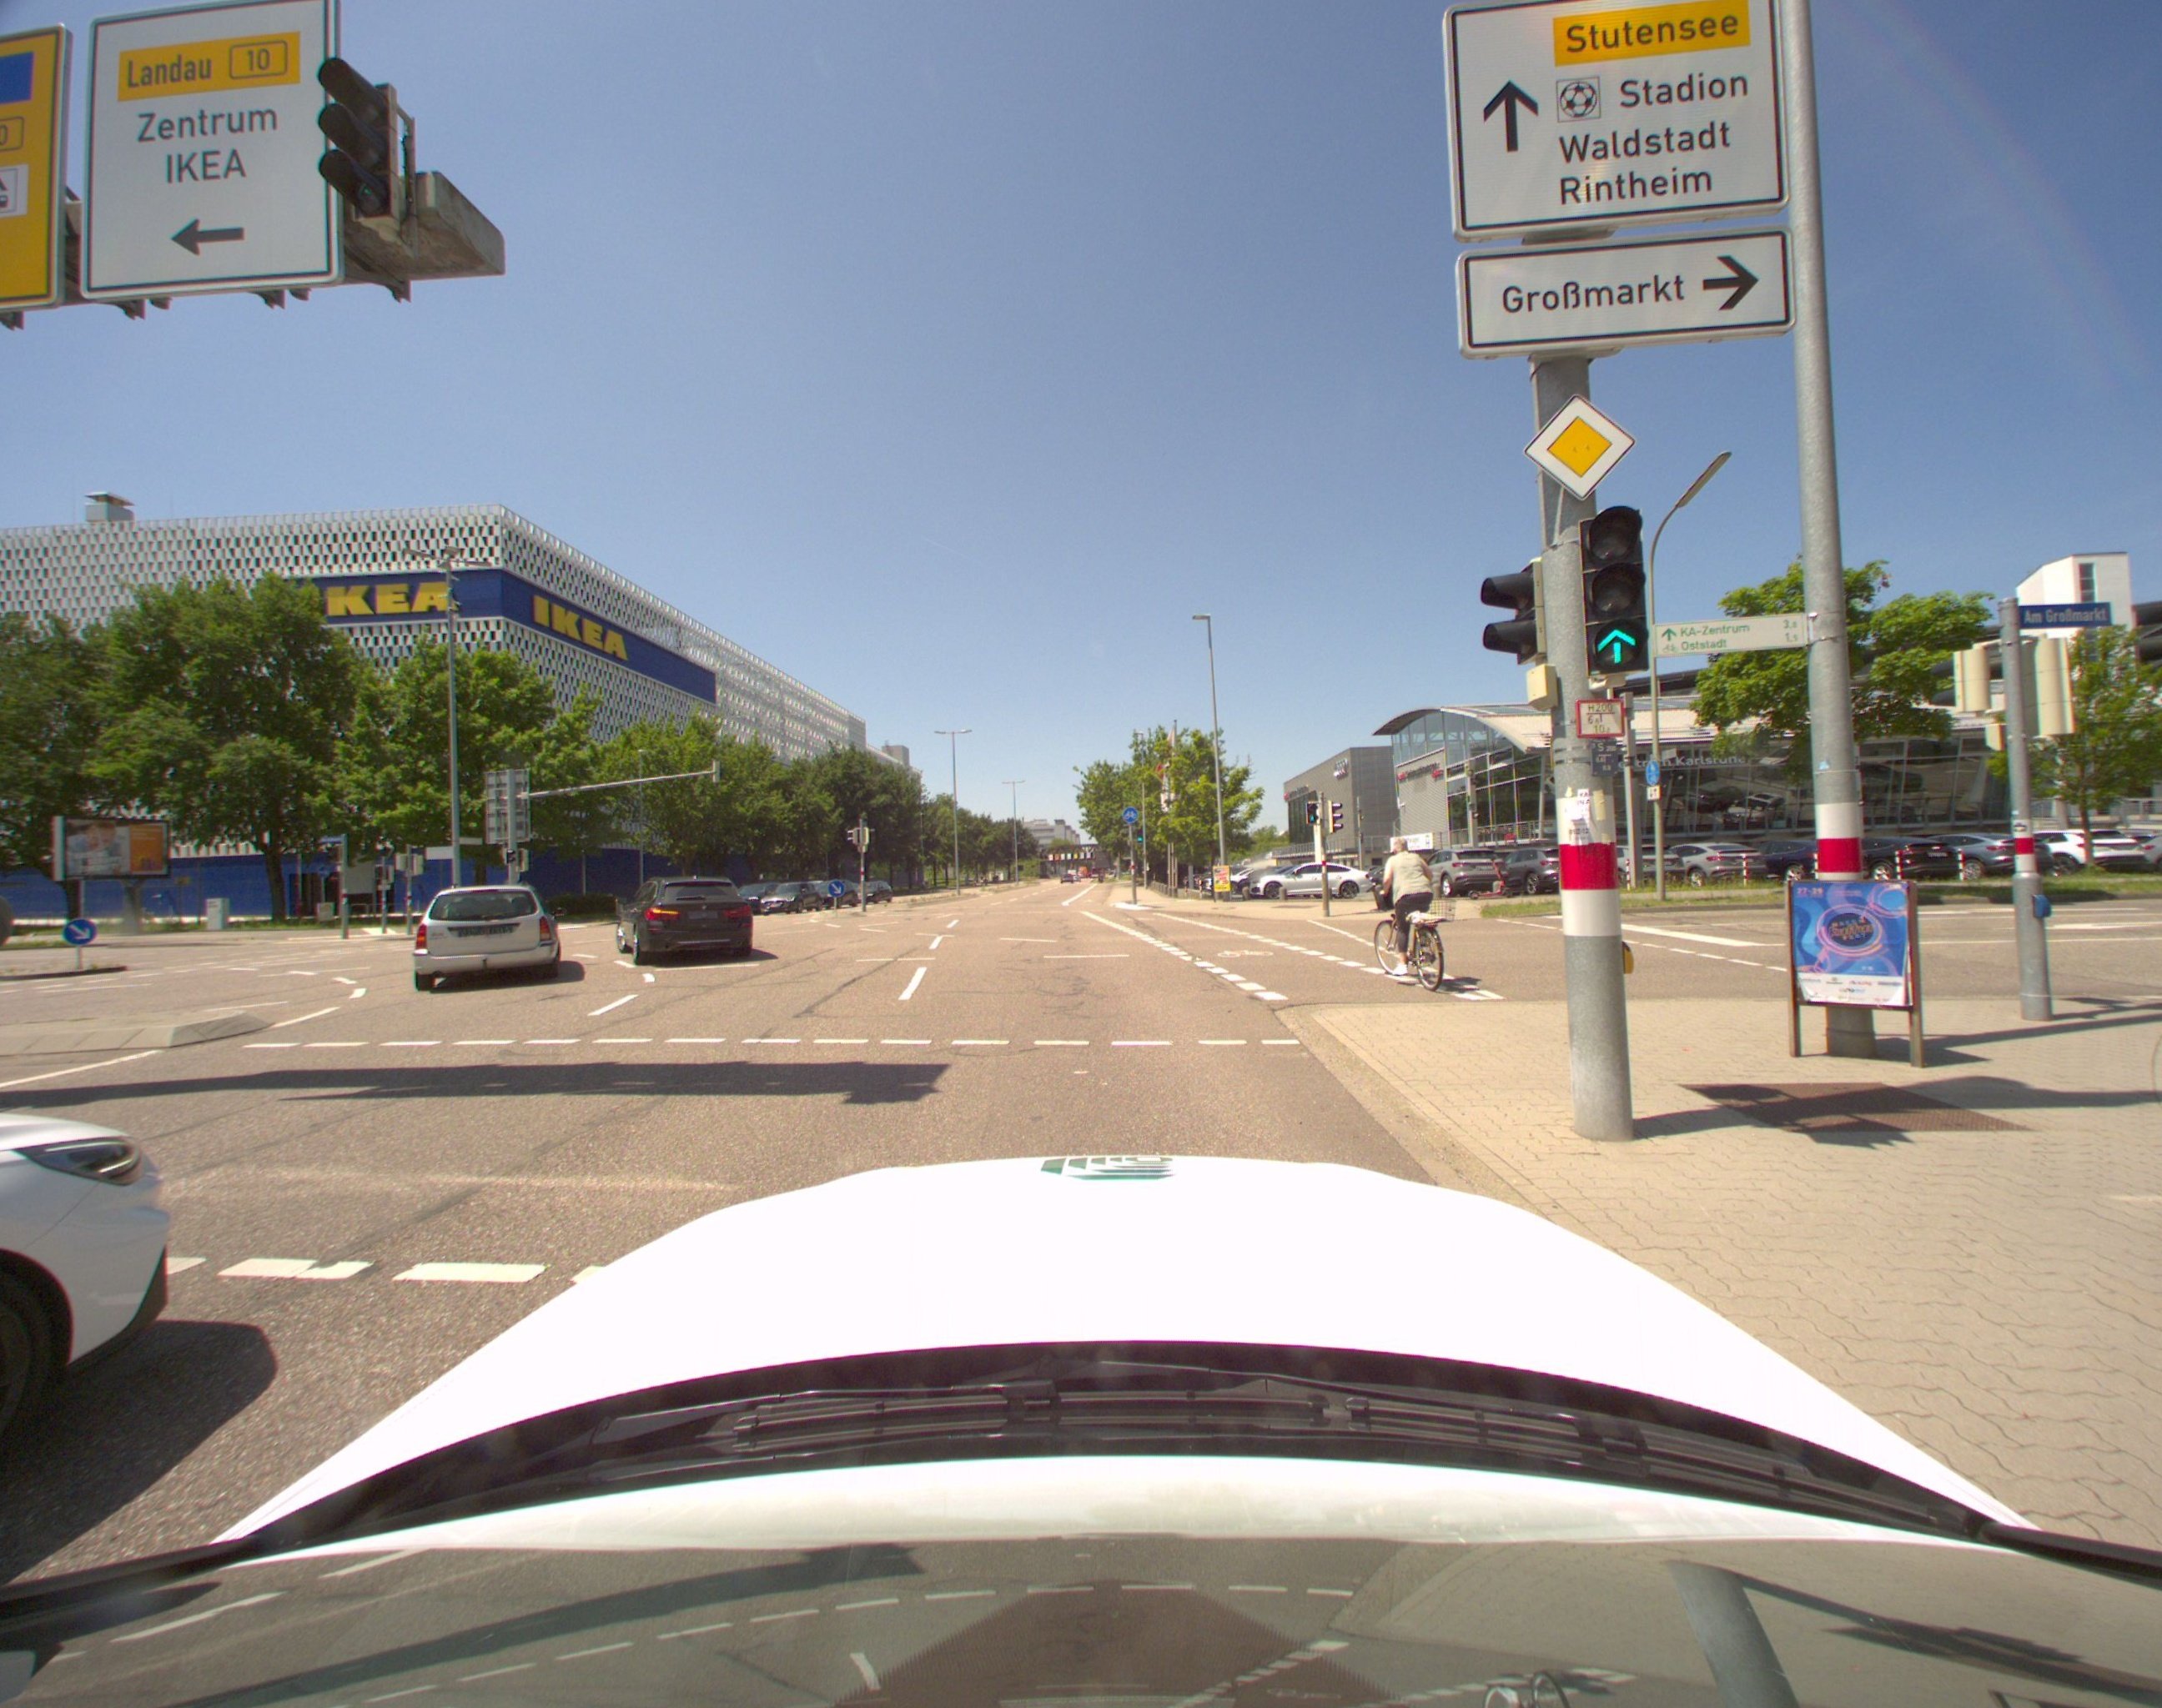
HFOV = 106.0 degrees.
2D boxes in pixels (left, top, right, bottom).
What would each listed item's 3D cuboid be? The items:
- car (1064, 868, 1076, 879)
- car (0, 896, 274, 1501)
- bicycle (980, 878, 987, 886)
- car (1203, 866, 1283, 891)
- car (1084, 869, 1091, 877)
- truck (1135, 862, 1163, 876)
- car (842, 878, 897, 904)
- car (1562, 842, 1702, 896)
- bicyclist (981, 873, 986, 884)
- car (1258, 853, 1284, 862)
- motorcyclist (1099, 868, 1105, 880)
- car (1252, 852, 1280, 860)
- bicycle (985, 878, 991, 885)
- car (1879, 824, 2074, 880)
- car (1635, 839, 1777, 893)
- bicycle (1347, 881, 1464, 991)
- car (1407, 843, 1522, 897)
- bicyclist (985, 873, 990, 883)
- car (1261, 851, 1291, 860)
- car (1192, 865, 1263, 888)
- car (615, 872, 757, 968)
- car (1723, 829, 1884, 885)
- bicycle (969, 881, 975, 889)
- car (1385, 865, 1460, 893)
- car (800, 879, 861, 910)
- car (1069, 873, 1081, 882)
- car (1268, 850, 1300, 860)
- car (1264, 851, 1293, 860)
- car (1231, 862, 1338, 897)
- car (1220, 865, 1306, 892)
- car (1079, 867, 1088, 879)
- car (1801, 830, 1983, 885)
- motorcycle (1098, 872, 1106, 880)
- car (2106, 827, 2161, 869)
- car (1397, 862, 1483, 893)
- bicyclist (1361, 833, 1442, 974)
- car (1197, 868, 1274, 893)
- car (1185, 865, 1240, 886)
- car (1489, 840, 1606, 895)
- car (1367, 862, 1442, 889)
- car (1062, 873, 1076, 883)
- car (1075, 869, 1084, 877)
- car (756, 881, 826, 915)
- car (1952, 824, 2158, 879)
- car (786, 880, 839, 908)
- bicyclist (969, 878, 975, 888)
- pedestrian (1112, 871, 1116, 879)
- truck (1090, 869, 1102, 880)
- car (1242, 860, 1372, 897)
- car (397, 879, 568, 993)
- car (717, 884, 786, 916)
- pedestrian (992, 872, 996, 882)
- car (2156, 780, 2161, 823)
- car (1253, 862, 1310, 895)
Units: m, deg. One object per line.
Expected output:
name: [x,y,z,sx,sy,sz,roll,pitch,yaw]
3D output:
car: [-2.100,3.726,153.292,1.986,2.014,4.001,-1,-1,1]
car: [-3.566,0.837,0.599,1.781,1.436,4.072,-1,-1,2]
bicycle: [-15.185,4.393,127.139,0.737,1.125,2.433,-2,-1,-1]
car: [8.870,1.330,44.743,4.083,1.349,1.870,0,-1,2]
car: [1.809,5.114,222.072,1.745,2.014,3.872,-2,-1,1]
truck: [14.106,3.185,169.028,5.584,2.851,2.620,0,-1,-4]
car: [-13.081,2.273,50.733,1.718,1.446,4.725,-4,-2,5]
car: [18.053,0.493,26.924,1.839,1.654,3.995,0,-1,-2]
bicyclist: [-15.206,3.844,127.054,0.743,1.686,0.951,-2,-1,-1]
car: [28.348,0.491,121.421,3.515,1.239,1.675,0,-1,-3]
motorcyclist: [2.673,2.578,104.321,0.719,1.529,0.868,0,-2,-8]
car: [28.743,0.331,126.705,3.977,1.312,1.796,0,-1,-3]
bicycle: [-15.686,4.561,136.739,0.626,1.159,2.118,-4,-1,1]
car: [28.751,-0.011,26.360,1.839,1.654,3.995,0,-1,-2]
car: [20.395,0.364,26.787,1.632,1.616,3.815,-1,0,-2]
bicycle: [3.827,0.923,9.775,0.626,1.133,1.894,-1,-1,0]
car: [12.646,0.566,27.219,1.860,1.558,4.506,-3,-3,3]
bicyclist: [-15.719,4.080,136.737,0.631,1.629,1.045,-4,-2,1]
car: [28.413,0.209,118.965,3.929,1.211,1.716,-1,-1,-3]
car: [9.033,1.397,50.476,4.085,1.405,1.870,0,-1,2]
car: [-7.524,1.130,15.272,1.810,1.440,4.509,-2,-1,-33]
car: [23.251,0.133,26.425,1.624,1.654,3.907,-1,-1,-2]
bicycle: [-16.983,4.805,126.968,0.635,1.134,1.971,-2,-1,2]
car: [19.561,1.443,46.798,3.633,1.581,1.643,0,-1,2]
car: [-13.408,2.136,43.846,1.719,1.505,4.246,-4,-2,3]
car: [-0.997,3.984,138.452,1.917,1.420,4.001,-2,-1,1]
car: [28.292,0.170,113.608,3.977,1.312,1.796,0,-1,-3]
car: [28.183,0.191,116.052,3.715,1.131,1.682,0,-1,-3]
car: [8.440,1.055,34.070,4.080,1.390,1.870,0,-1,2]
car: [9.301,1.243,41.897,4.080,1.364,1.875,0,-1,2]
car: [0.680,4.715,204.625,2.065,2.855,6.766,-2,-1,1]
car: [26.128,0.156,26.458,1.839,1.654,3.995,0,-1,-2]
motorcycle: [2.680,2.812,104.301,0.716,1.105,1.825,0,-2,-7]
car: [40.069,-0.302,28.676,4.531,1.472,1.925,-3,-1,26]
car: [19.429,1.273,44.208,3.970,1.622,1.657,0,-1,2]
bicyclist: [3.816,0.576,9.752,0.626,1.606,0.825,0,-1,-1]
car: [8.964,1.534,47.529,4.209,1.390,1.870,0,-1,2]
car: [9.409,1.521,58.466,3.667,1.453,1.834,0,-1,2]
car: [15.237,0.456,26.848,1.835,1.654,4.004,0,-1,5]
car: [19.757,1.306,49.828,3.967,1.573,1.634,0,-1,2]
car: [-1.705,3.471,118.971,1.893,1.376,4.232,-2,-1,1]
car: [-0.292,4.363,185.269,1.888,1.816,4.001,-2,-1,2]
car: [-13.368,1.998,37.748,1.637,1.389,3.718,-4,-2,3]
car: [31.348,-0.027,26.406,1.839,1.654,3.995,0,-1,-2]
car: [-16.312,2.415,49.660,1.720,1.544,3.917,-3,-2,2]
bicyclist: [-16.994,4.493,126.956,0.634,1.582,0.885,-2,-2,2]
pedestrian: [5.856,3.681,143.483,0.621,1.375,0.564,-2,-1,0]
truck: [3.382,4.446,177.866,2.449,2.410,7.137,-1,-1,2]
car: [8.658,0.943,31.502,4.572,1.390,1.871,0,-1,4]
car: [-9.267,1.144,12.906,1.703,1.422,3.971,-1,-1,-30]
car: [-16.524,2.267,41.031,1.654,1.424,4.040,-3,-2,2]
pedestrian: [-17.834,4.671,166.700,0.740,1.884,0.578,-2,-2,2]
car: [45.920,-2.234,31.967,4.552,1.707,1.916,-2,-1,5]
car: [9.340,1.133,38.202,1.854,1.420,4.667,0,-1,4]
